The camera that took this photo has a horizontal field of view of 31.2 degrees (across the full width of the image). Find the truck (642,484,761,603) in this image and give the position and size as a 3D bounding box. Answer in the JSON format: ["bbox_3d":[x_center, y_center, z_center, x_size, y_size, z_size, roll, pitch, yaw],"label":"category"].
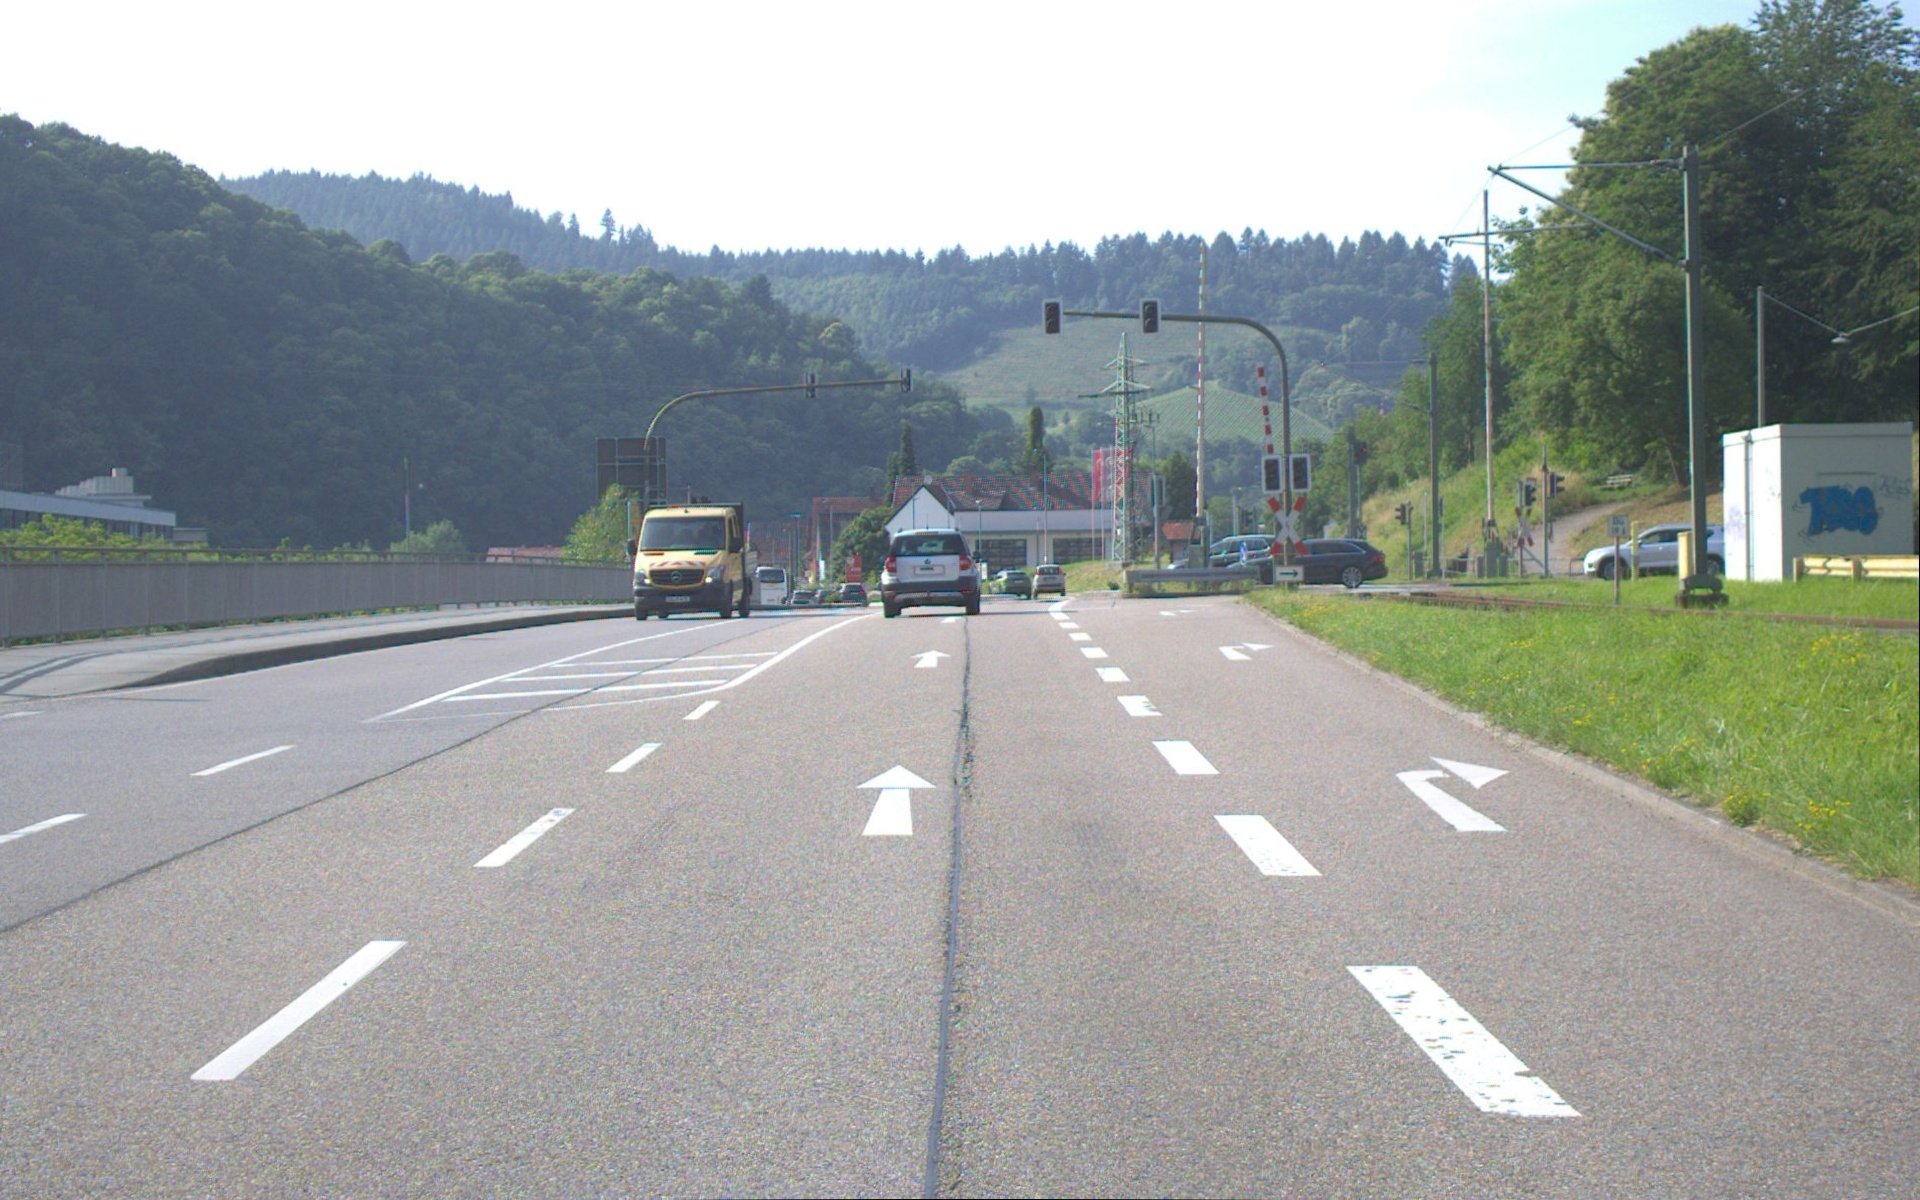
[{"bbox_3d":[-5.340,-1.213,71.666,1.993,2.335,5.699,-2,2,0],"label":"truck"}]

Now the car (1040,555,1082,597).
[{"bbox_3d":[5.217,-1.260,177.924,1.993,2.006,4.000,-2,1,0],"label":"car"}]

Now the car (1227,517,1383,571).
[{"bbox_3d":[9.475,-1.547,94.331,3.990,1.350,1.876,-1,2,15],"label":"car"}]

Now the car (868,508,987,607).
[{"bbox_3d":[-0.575,-0.820,65.083,1.993,1.717,3.990,-3,1,2],"label":"car"}]

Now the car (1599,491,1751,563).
[{"bbox_3d":[19.806,-2.022,95.199,3.990,1.875,1.876,-1,2,15],"label":"car"}]

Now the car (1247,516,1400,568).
[{"bbox_3d":[10.234,-1.629,96.715,3.990,1.350,1.876,-1,2,15],"label":"car"}]

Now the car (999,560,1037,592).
[{"bbox_3d":[3.244,-1.346,192.044,1.993,1.612,4.000,-2,1,0],"label":"car"}]
